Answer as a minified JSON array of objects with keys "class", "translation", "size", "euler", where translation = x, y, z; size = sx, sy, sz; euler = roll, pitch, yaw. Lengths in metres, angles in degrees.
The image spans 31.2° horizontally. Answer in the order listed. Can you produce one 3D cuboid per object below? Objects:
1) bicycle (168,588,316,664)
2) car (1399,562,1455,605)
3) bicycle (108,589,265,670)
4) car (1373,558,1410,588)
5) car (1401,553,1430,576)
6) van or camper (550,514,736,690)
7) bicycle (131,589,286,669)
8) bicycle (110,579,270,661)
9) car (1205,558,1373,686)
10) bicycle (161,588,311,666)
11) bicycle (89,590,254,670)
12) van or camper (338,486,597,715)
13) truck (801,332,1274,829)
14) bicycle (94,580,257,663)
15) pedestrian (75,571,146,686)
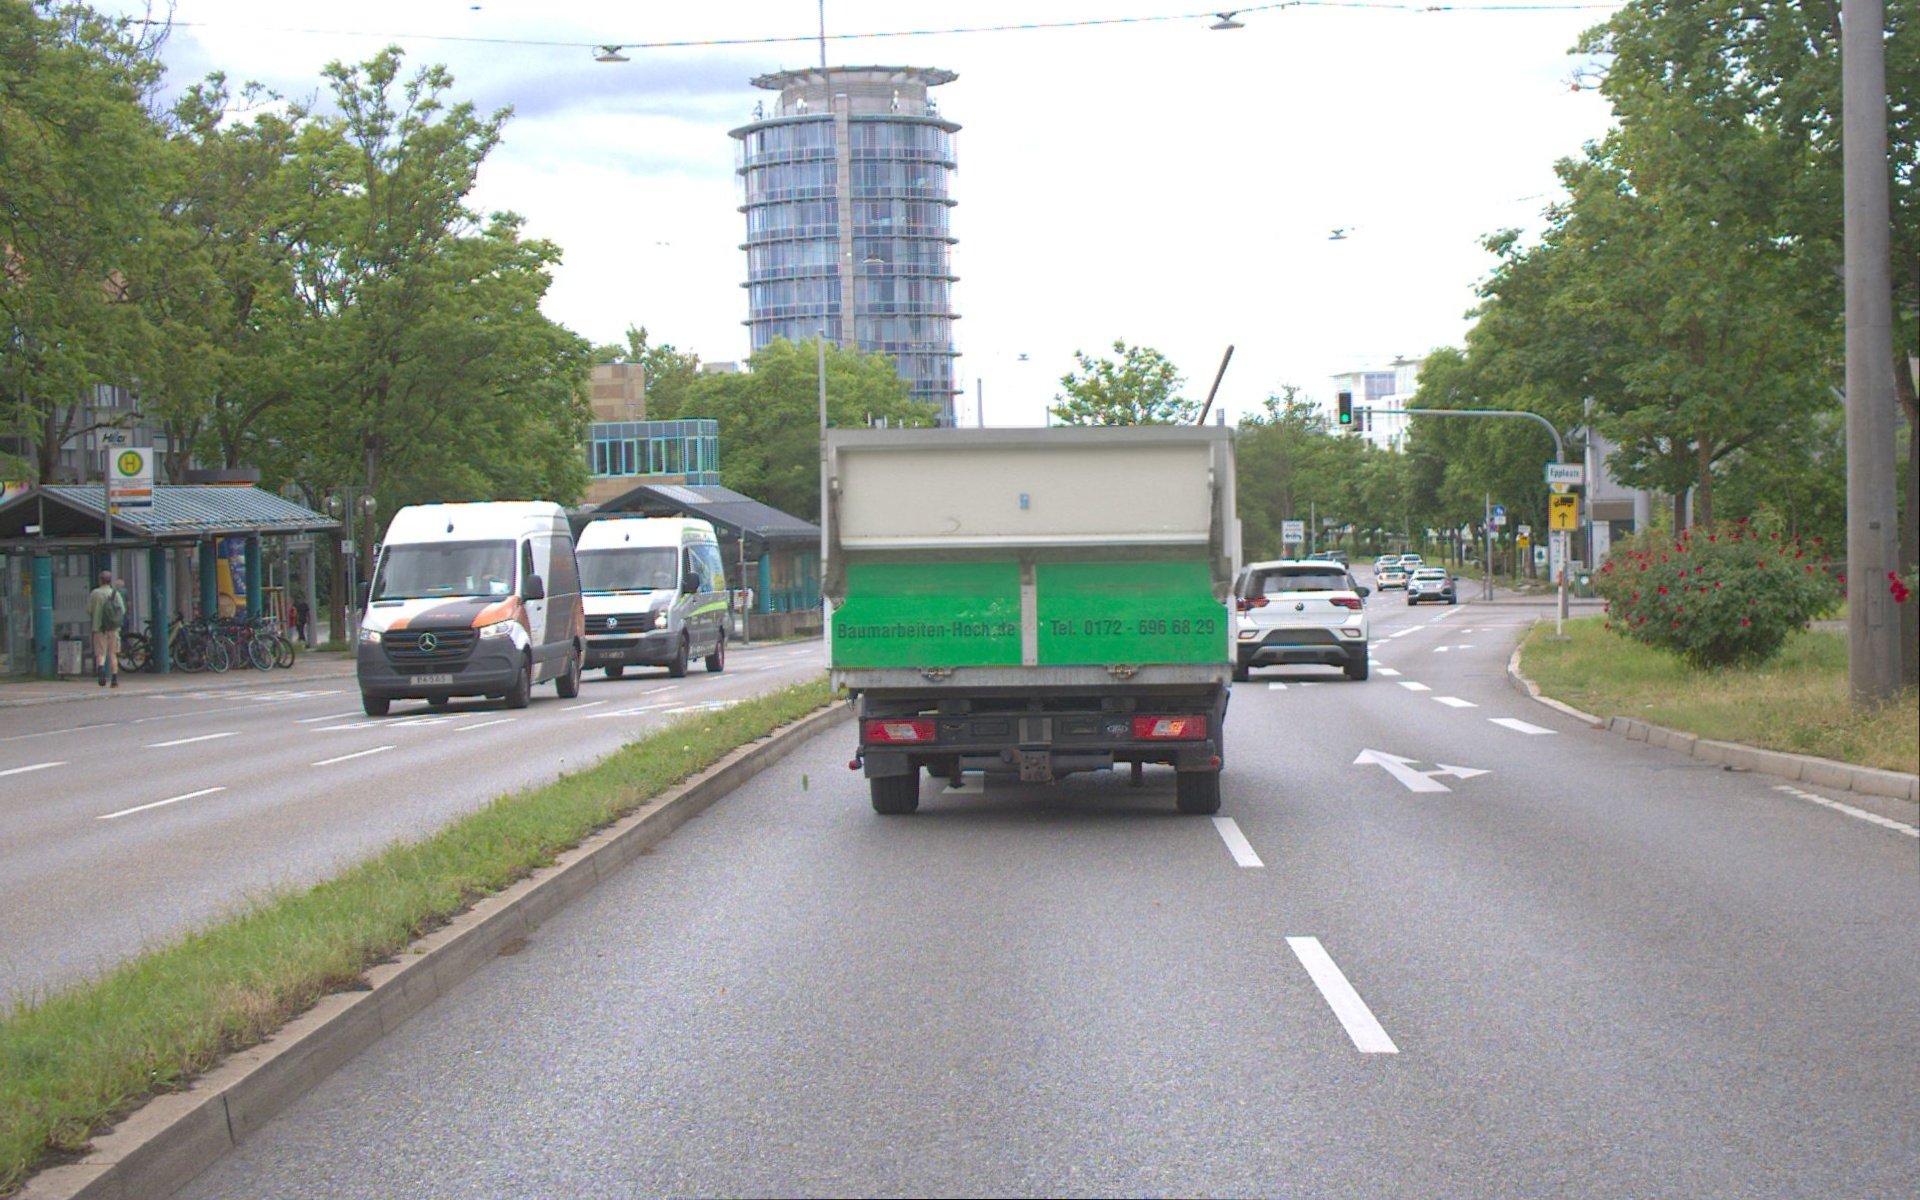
[{"class":"bicycle","translation":[-14.936,0.539,71.546],"size":[2.899,1.501,0.598],"euler":[-2,0,2]},{"class":"car","translation":[17.878,-0.634,131.790],"size":[1.994,1.547,3.999],"euler":[-2,0,7]},{"class":"bicycle","translation":[-15.416,0.583,68.521],"size":[2.899,1.501,0.806],"euler":[-2,0,2]},{"class":"car","translation":[23.854,-1.489,190.173],"size":[1.994,1.547,3.999],"euler":[-2,0,7]},{"class":"car","translation":[32.838,-2.548,248.058],"size":[1.994,1.547,3.999],"euler":[-2,0,7]},{"class":"van or camper","translation":[-5.047,-0.010,55.648],"size":[2.032,2.589,6.115],"euler":[-3,1,3]},{"class":"bicycle","translation":[-15.071,0.576,68.999],"size":[2.899,1.501,0.806],"euler":[-2,0,2]},{"class":"bicycle","translation":[-15.125,0.391,67.571],"size":[2.899,1.501,0.811],"euler":[-2,0,4]},{"class":"car","translation":[4.333,0.253,45.869],"size":[1.868,1.500,4.773],"euler":[-1,1,2]},{"class":"bicycle","translation":[-14.877,0.552,70.703],"size":[2.899,1.501,0.700],"euler":[-2,0,2]},{"class":"bicycle","translation":[-15.001,0.557,65.455],"size":[2.899,1.501,0.972],"euler":[0,0,2]},{"class":"van or camper","translation":[-6.131,-0.040,43.597],"size":[1.994,2.589,6.115],"euler":[-3,1,3]},{"class":"truck","translation":[0.665,-0.178,21.369],"size":[2.471,2.602,6.547],"euler":[0,1,5]},{"class":"bicycle","translation":[-15.168,0.420,66.524],"size":[2.899,1.501,0.891],"euler":[-2,0,2]},{"class":"pedestrian","translation":[-13.565,0.446,54.932],"size":[0.704,1.816,1.213],"euler":[0,0,6]}]
